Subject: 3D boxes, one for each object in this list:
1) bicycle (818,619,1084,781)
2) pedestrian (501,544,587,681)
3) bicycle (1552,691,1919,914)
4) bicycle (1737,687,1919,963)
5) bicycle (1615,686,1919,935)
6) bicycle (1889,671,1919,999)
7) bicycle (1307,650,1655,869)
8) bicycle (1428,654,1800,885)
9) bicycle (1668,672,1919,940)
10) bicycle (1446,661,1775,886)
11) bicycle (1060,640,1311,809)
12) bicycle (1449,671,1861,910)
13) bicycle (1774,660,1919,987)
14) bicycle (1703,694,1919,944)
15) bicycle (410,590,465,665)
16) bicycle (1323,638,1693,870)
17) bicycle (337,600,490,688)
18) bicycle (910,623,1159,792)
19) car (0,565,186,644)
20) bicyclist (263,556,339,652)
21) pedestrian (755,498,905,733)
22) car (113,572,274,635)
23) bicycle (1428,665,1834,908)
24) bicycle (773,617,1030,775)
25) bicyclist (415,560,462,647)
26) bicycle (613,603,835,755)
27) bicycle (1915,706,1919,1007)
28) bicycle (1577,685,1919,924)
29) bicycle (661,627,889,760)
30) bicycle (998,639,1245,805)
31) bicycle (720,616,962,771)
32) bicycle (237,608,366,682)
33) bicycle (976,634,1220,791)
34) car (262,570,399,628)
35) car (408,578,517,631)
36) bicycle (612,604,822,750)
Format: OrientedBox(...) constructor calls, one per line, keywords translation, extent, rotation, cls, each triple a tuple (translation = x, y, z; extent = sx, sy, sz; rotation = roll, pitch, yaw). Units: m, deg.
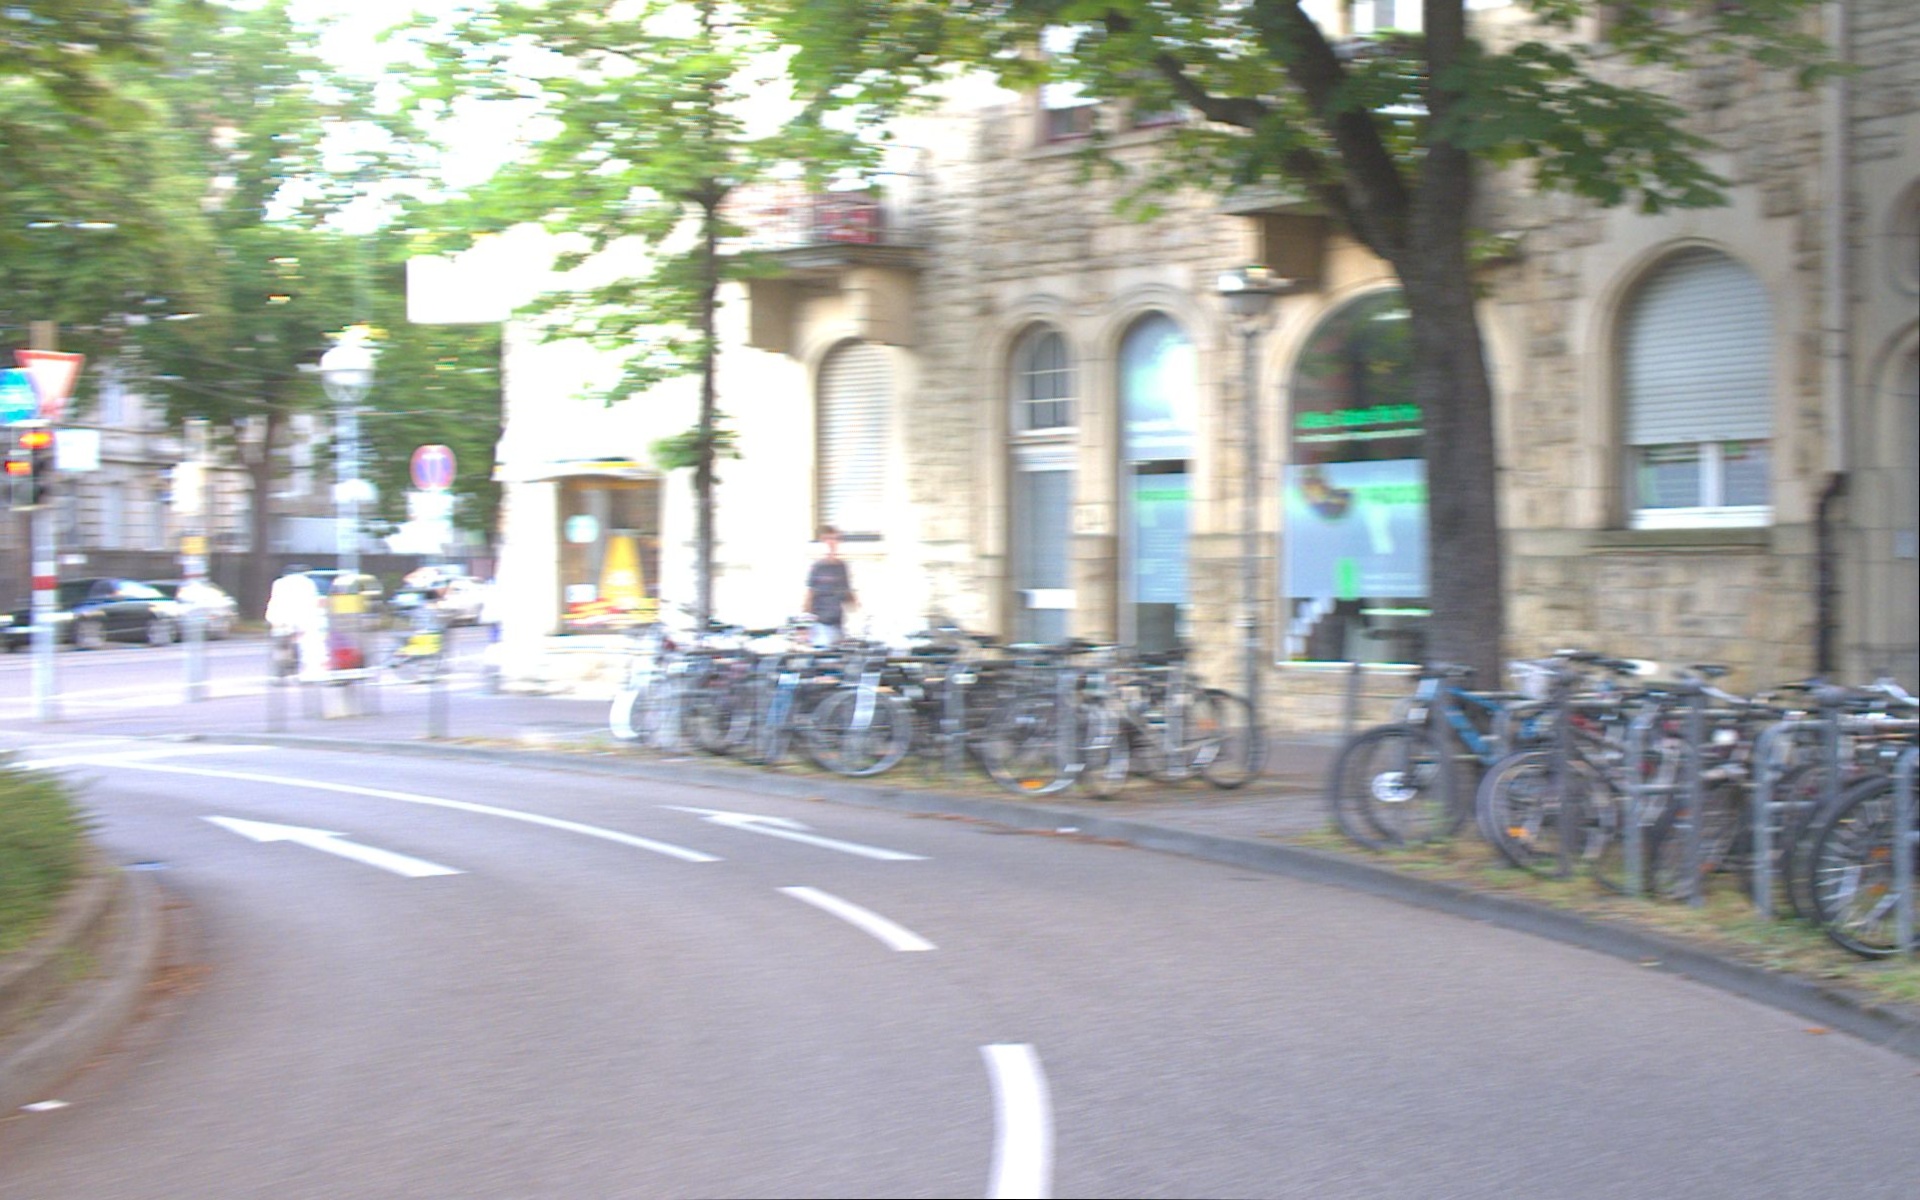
OrientedBox(translation=(-0.062, 0.729, 25.753), extent=(1.885, 1.158, 0.705), rotation=(0, 0, -28), cls="bicycle")
OrientedBox(translation=(-5.506, 0.161, 45.506), extent=(0.867, 1.788, 0.925), rotation=(0, 1, -26), cls="pedestrian")
OrientedBox(translation=(3.721, 0.935, 16.071), extent=(1.849, 0.996, 0.419), rotation=(0, 0, -11), cls="bicycle")
OrientedBox(translation=(4.161, 0.890, 13.918), extent=(1.914, 1.061, 0.553), rotation=(0, 0, -10), cls="bicycle")
OrientedBox(translation=(3.928, 0.922, 15.319), extent=(1.914, 1.057, 0.535), rotation=(0, 0, -10), cls="bicycle")
OrientedBox(translation=(4.312, 0.846, 12.457), extent=(1.790, 1.164, 0.448), rotation=(0, 0, -8), cls="bicycle")
OrientedBox(translation=(2.886, 0.879, 18.999), extent=(1.878, 1.136, 0.492), rotation=(1, 4, -25), cls="bicycle")
OrientedBox(translation=(3.352, 0.857, 17.633), extent=(1.849, 1.141, 0.419), rotation=(0, 0, -11), cls="bicycle")
OrientedBox(translation=(4.010, 0.871, 14.782), extent=(1.849, 1.113, 0.419), rotation=(0, 0, -7), cls="bicycle")
OrientedBox(translation=(3.456, 0.894, 18.188), extent=(1.849, 1.100, 0.574), rotation=(0, 0, -35), cls="bicycle")
OrientedBox(translation=(1.511, 0.817, 22.919), extent=(1.670, 1.074, 0.486), rotation=(0, 0, -29), cls="bicycle")
OrientedBox(translation=(3.417, 0.933, 16.954), extent=(1.849, 1.088, 0.419), rotation=(0, -19, -11), cls="bicycle")
OrientedBox(translation=(4.137, 0.833, 13.173), extent=(1.914, 1.196, 0.553), rotation=(0, 0, -10), cls="bicycle")
OrientedBox(translation=(4.093, 0.907, 14.465), extent=(1.849, 1.011, 0.419), rotation=(0, 0, -7), cls="bicycle")
OrientedBox(translation=(-8.775, 0.456, 57.798), extent=(0.697, 1.232, 1.863), rotation=(0, 1, -2), cls="bicycle")
OrientedBox(translation=(2.954, 0.832, 18.566), extent=(1.878, 1.213, 0.492), rotation=(0, -6, -11), cls="bicycle")
OrientedBox(translation=(-7.185, 0.569, 45.207), extent=(1.871, 1.126, 0.732), rotation=(0, 0, -24), cls="bicycle")
OrientedBox(translation=(0.531, 0.752, 24.515), extent=(1.669, 1.124, 0.486), rotation=(0, 7, -21), cls="bicycle")
OrientedBox(translation=(-17.320, 0.065, 68.083), extent=(1.945, 1.505, 4.629), rotation=(0, 0, 15), cls="car")
OrientedBox(translation=(-9.742, 0.051, 50.844), extent=(0.862, 1.406, 0.699), rotation=(0, 1, -45), cls="bicyclist")
OrientedBox(translation=(-1.180, 0.117, 31.100), extent=(1.010, 2.078, 1.061), rotation=(-1, 1, -26), cls="pedestrian")
OrientedBox(translation=(-18.026, 0.066, 81.055), extent=(2.005, 1.422, 4.630), rotation=(0, 0, 11), cls="car")
OrientedBox(translation=(3.352, 0.928, 17.222), extent=(1.849, 1.126, 0.419), rotation=(0, -19, -11), cls="bicycle")
OrientedBox(translation=(-0.442, 0.722, 26.413), extent=(1.885, 1.158, 0.640), rotation=(0, 0, -28), cls="bicycle")
OrientedBox(translation=(-8.768, 0.052, 57.793), extent=(0.697, 1.456, 0.784), rotation=(0, 0, -2), cls="bicyclist")
OrientedBox(translation=(-1.977, 0.647, 28.940), extent=(1.788, 1.232, 0.699), rotation=(0, 1, -38), cls="bicycle")
OrientedBox(translation=(4.294, 0.906, 12.045), extent=(1.790, 1.060, 0.448), rotation=(0, 0, -8), cls="bicycle")
OrientedBox(translation=(3.785, 0.925, 15.786), extent=(1.849, 1.048, 0.419), rotation=(0, 0, -11), cls="bicycle")
OrientedBox(translation=(-1.509, 0.752, 28.211), extent=(1.801, 1.035, 0.699), rotation=(0, 1, -38), cls="bicycle")
OrientedBox(translation=(1.101, 0.809, 23.281), extent=(1.670, 1.074, 0.486), rotation=(0, 0, -29), cls="bicycle")
OrientedBox(translation=(-0.923, 0.717, 26.992), extent=(1.886, 1.158, 0.640), rotation=(0, 1, -38), cls="bicycle")
OrientedBox(translation=(-9.735, 0.655, 50.856), extent=(1.788, 1.051, 0.699), rotation=(0, 1, -45), cls="bicycle")
OrientedBox(translation=(0.982, 0.787, 24.375), extent=(1.669, 1.074, 0.486), rotation=(0, 0, -22), cls="bicycle")
OrientedBox(translation=(-16.578, -0.043, 90.683), extent=(1.945, 1.477, 4.165), rotation=(0, 0, 15), cls="car")
OrientedBox(translation=(-14.398, 0.116, 99.781), extent=(1.945, 1.477, 4.319), rotation=(0, 0, 9), cls="car")
OrientedBox(translation=(-2.121, 0.655, 30.110), extent=(1.788, 1.232, 0.651), rotation=(0, 1, -40), cls="bicycle")
